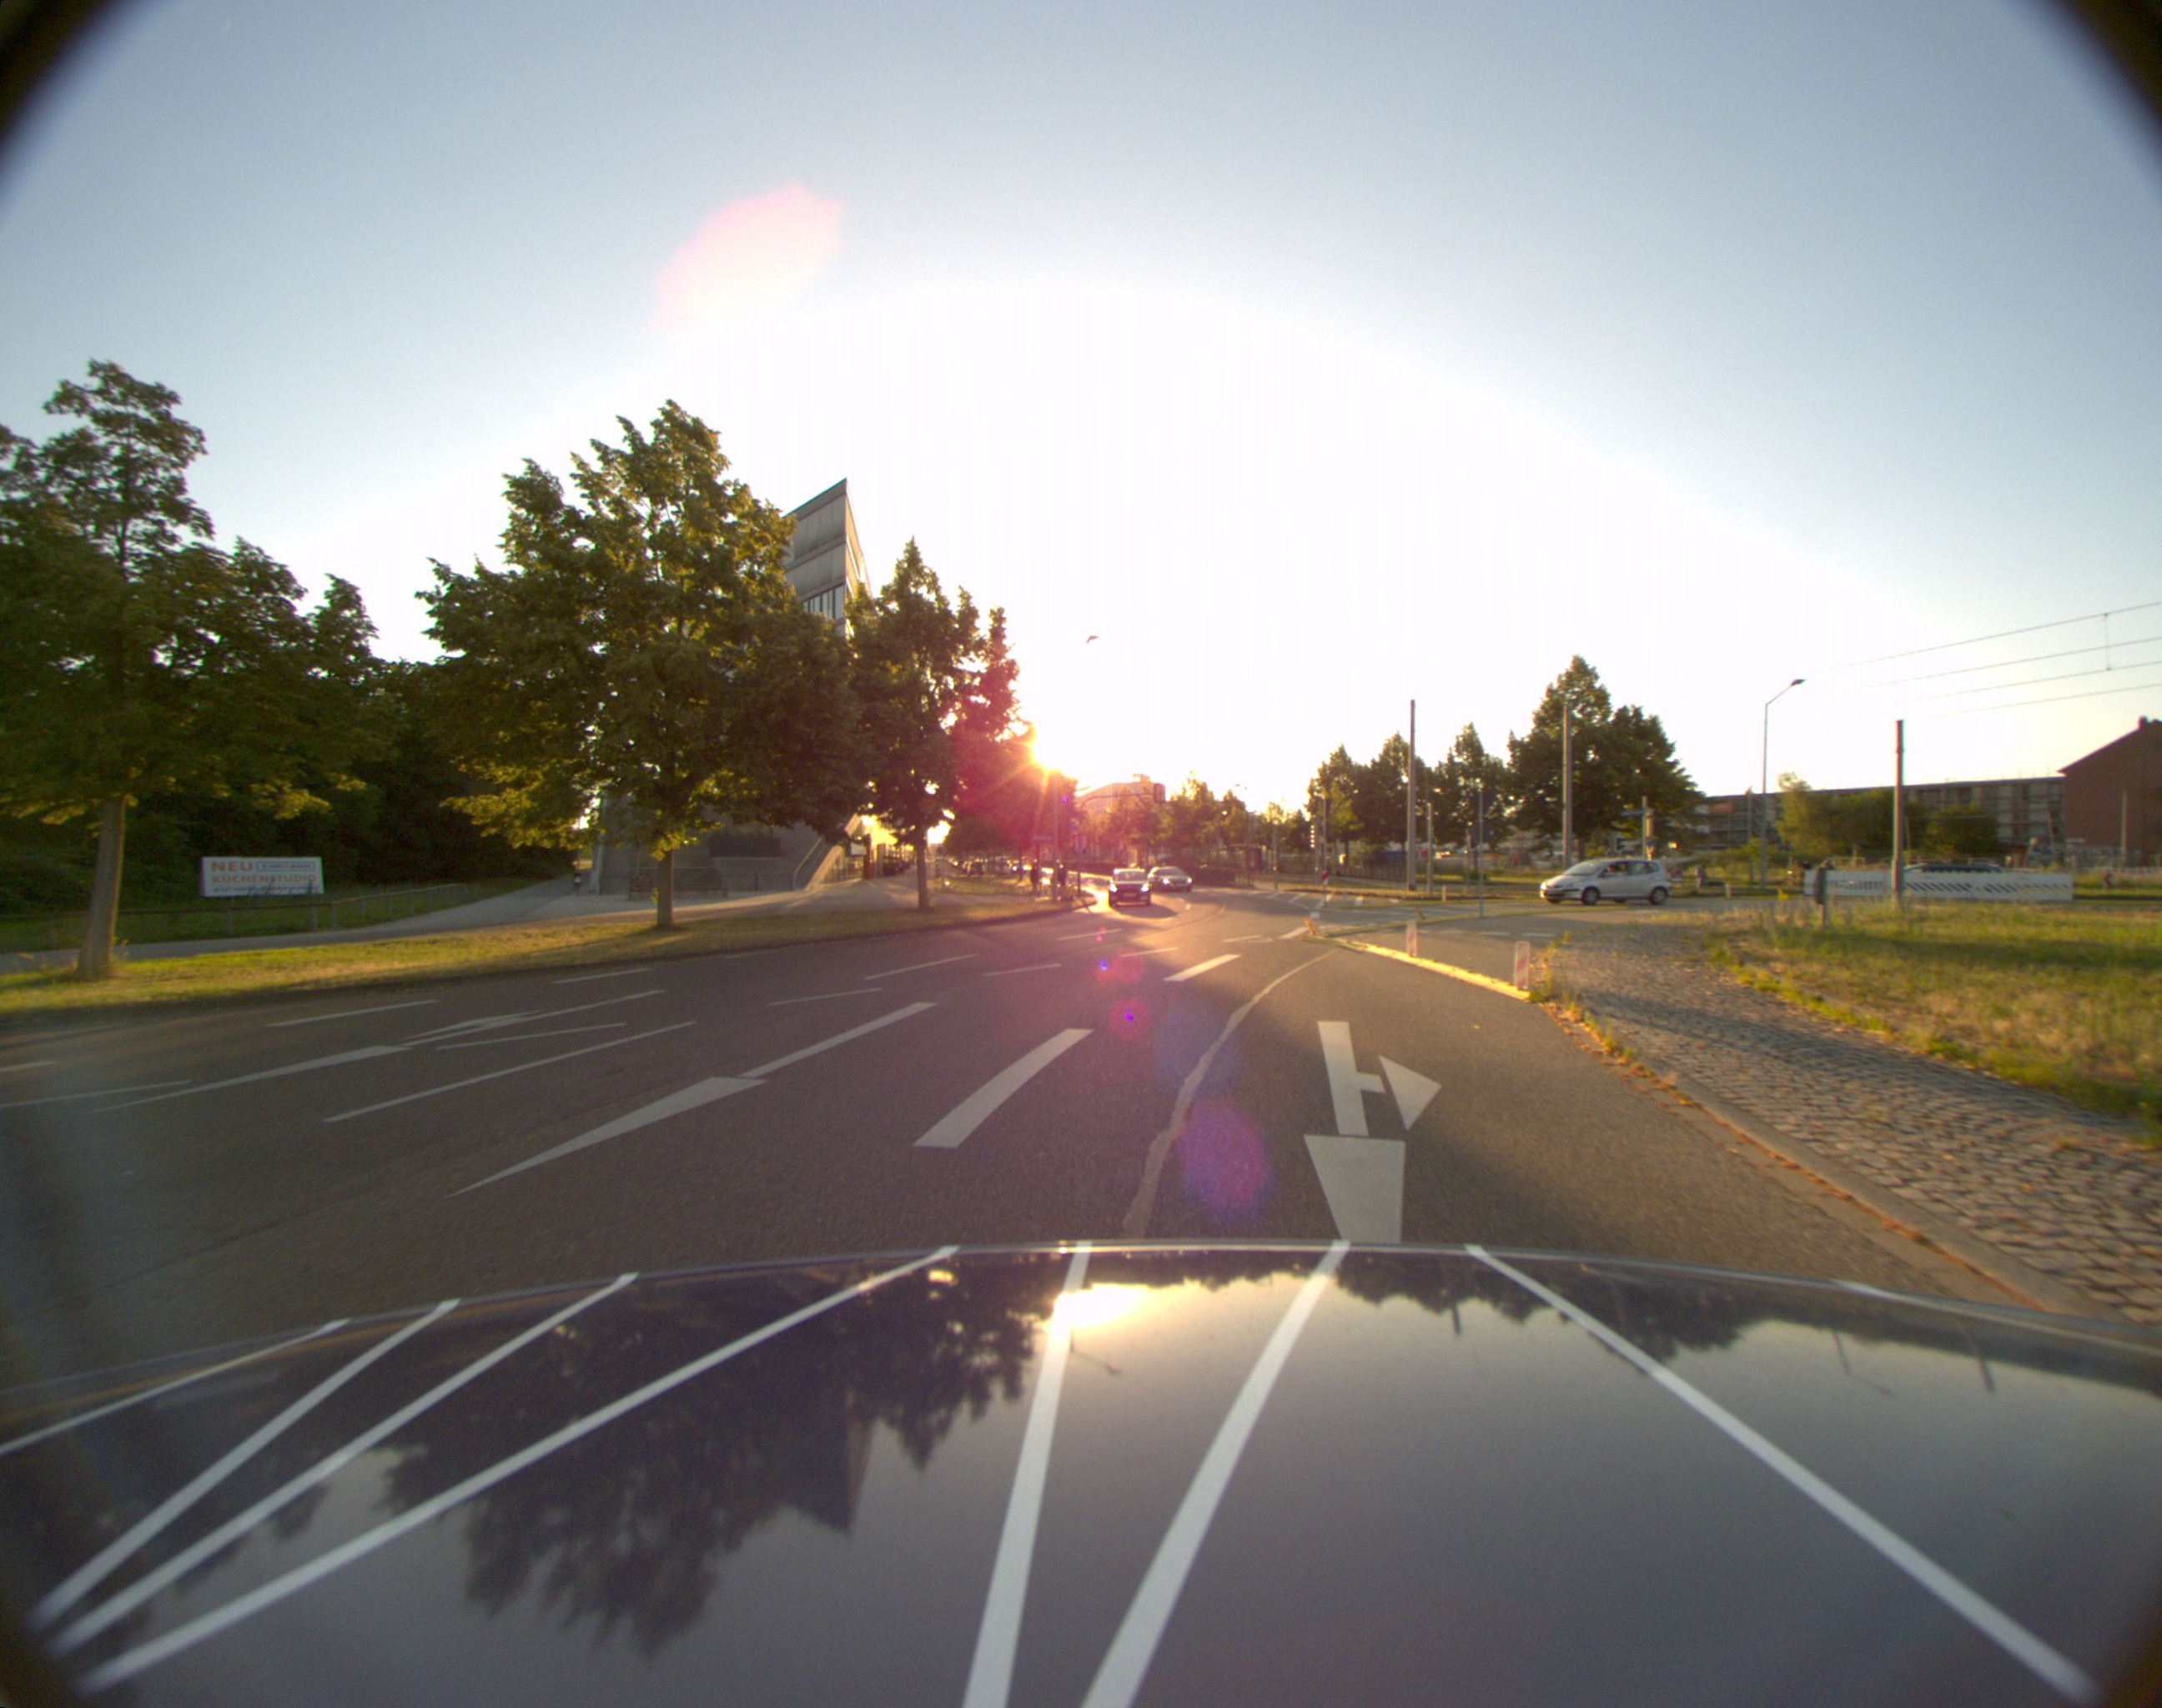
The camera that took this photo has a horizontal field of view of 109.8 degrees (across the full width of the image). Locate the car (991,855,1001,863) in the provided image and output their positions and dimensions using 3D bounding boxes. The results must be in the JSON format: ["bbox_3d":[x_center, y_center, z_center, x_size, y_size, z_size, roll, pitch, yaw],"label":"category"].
[{"bbox_3d":[-18.945,1.111,169.883,1.720,1.827,3.995,-1,0,-14],"label":"car"}]

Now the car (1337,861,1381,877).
[{"bbox_3d":[23.721,1.243,65.026,1.834,1.324,3.997,0,0,-8],"label":"car"}]

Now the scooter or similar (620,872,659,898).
[{"bbox_3d":[-20.459,1.431,35.187,1.576,1.213,0.366,-1,0,-1],"label":"scooter or similar"}]

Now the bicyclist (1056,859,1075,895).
[{"bbox_3d":[-0.773,1.120,37.437,0.849,1.745,0.804,-1,0,-4],"label":"bicyclist"}]

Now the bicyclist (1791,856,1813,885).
[{"bbox_3d":[39.658,0.900,41.795,0.796,1.624,0.697,0,0,38],"label":"bicyclist"}]

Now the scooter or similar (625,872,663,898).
[{"bbox_3d":[-20.471,1.451,35.612,1.576,1.213,0.366,-1,0,-1],"label":"scooter or similar"}]

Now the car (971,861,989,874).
[{"bbox_3d":[-11.671,1.507,87.444,1.803,1.455,3.996,-1,0,-11],"label":"car"}]

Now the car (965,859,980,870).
[{"bbox_3d":[-14.582,1.396,102.361,1.803,1.455,3.996,-1,0,-11],"label":"car"}]

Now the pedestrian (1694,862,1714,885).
[{"bbox_3d":[36.653,1.152,44.696,0.619,1.358,0.694,-1,0,-8],"label":"pedestrian"}]

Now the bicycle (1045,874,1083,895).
[{"bbox_3d":[-0.858,1.511,37.695,1.862,1.016,0.437,-1,0,-4],"label":"bicycle"}]

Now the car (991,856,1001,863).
[{"bbox_3d":[-20.487,1.244,182.782,1.895,1.613,3.995,-1,0,-14],"label":"car"}]

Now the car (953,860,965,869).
[{"bbox_3d":[-19.101,1.609,118.755,1.803,1.455,3.996,-1,0,-11],"label":"car"}]

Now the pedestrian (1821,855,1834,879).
[{"bbox_3d":[41.970,0.739,42.710,0.435,1.358,0.502,-1,0,-42],"label":"pedestrian"}]

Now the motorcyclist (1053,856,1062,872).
[{"bbox_3d":[-2.146,0.881,68.825,0.636,1.408,0.714,-1,1,-12],"label":"motorcyclist"}]

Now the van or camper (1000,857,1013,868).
[{"bbox_3d":[-14.434,1.570,146.327,2.000,1.946,5.323,-1,1,-12],"label":"van or camper"}]

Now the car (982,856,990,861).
[{"bbox_3d":[-25.825,1.230,205.772,1.803,1.455,3.996,-1,0,-11],"label":"car"}]

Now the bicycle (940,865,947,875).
[{"bbox_3d":[-12.404,1.462,68.369,0.550,0.846,2.642,-1,0,-9],"label":"bicycle"}]

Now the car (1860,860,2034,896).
[{"bbox_3d":[36.038,0.953,31.846,4.638,1.407,1.935,-1,0,42],"label":"car"}]

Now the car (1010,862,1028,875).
[{"bbox_3d":[-7.894,1.858,96.902,1.893,1.472,4.047,-1,1,-11],"label":"car"}]

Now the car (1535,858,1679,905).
[{"bbox_3d":[17.074,0.864,24.760,3.710,1.457,1.606,0,0,-6],"label":"car"}]

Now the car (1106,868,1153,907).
[{"bbox_3d":[2.030,1.325,31.444,1.801,1.455,4.001,-1,0,4],"label":"car"}]

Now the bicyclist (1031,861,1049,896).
[{"bbox_3d":[-1.923,1.132,35.488,0.685,1.638,0.683,-1,0,-20],"label":"bicyclist"}]

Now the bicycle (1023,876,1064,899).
[{"bbox_3d":[-1.743,1.564,35.468,1.865,1.016,0.307,0,0,-21],"label":"bicycle"}]

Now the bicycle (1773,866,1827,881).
[{"bbox_3d":[39.663,1.077,41.927,2.129,0.841,0.513,-1,0,38],"label":"bicycle"}]

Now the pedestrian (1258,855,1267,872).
[{"bbox_3d":[17.259,0.885,72.293,0.709,1.623,0.446,-1,0,-13],"label":"pedestrian"}]

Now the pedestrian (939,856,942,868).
[{"bbox_3d":[-23.939,1.310,129.715,0.539,2.002,0.527,-1,0,-11],"label":"pedestrian"}]

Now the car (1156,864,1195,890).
[{"bbox_3d":[5.476,1.316,44.449,1.802,1.414,4.449,-1,0,1],"label":"car"}]
